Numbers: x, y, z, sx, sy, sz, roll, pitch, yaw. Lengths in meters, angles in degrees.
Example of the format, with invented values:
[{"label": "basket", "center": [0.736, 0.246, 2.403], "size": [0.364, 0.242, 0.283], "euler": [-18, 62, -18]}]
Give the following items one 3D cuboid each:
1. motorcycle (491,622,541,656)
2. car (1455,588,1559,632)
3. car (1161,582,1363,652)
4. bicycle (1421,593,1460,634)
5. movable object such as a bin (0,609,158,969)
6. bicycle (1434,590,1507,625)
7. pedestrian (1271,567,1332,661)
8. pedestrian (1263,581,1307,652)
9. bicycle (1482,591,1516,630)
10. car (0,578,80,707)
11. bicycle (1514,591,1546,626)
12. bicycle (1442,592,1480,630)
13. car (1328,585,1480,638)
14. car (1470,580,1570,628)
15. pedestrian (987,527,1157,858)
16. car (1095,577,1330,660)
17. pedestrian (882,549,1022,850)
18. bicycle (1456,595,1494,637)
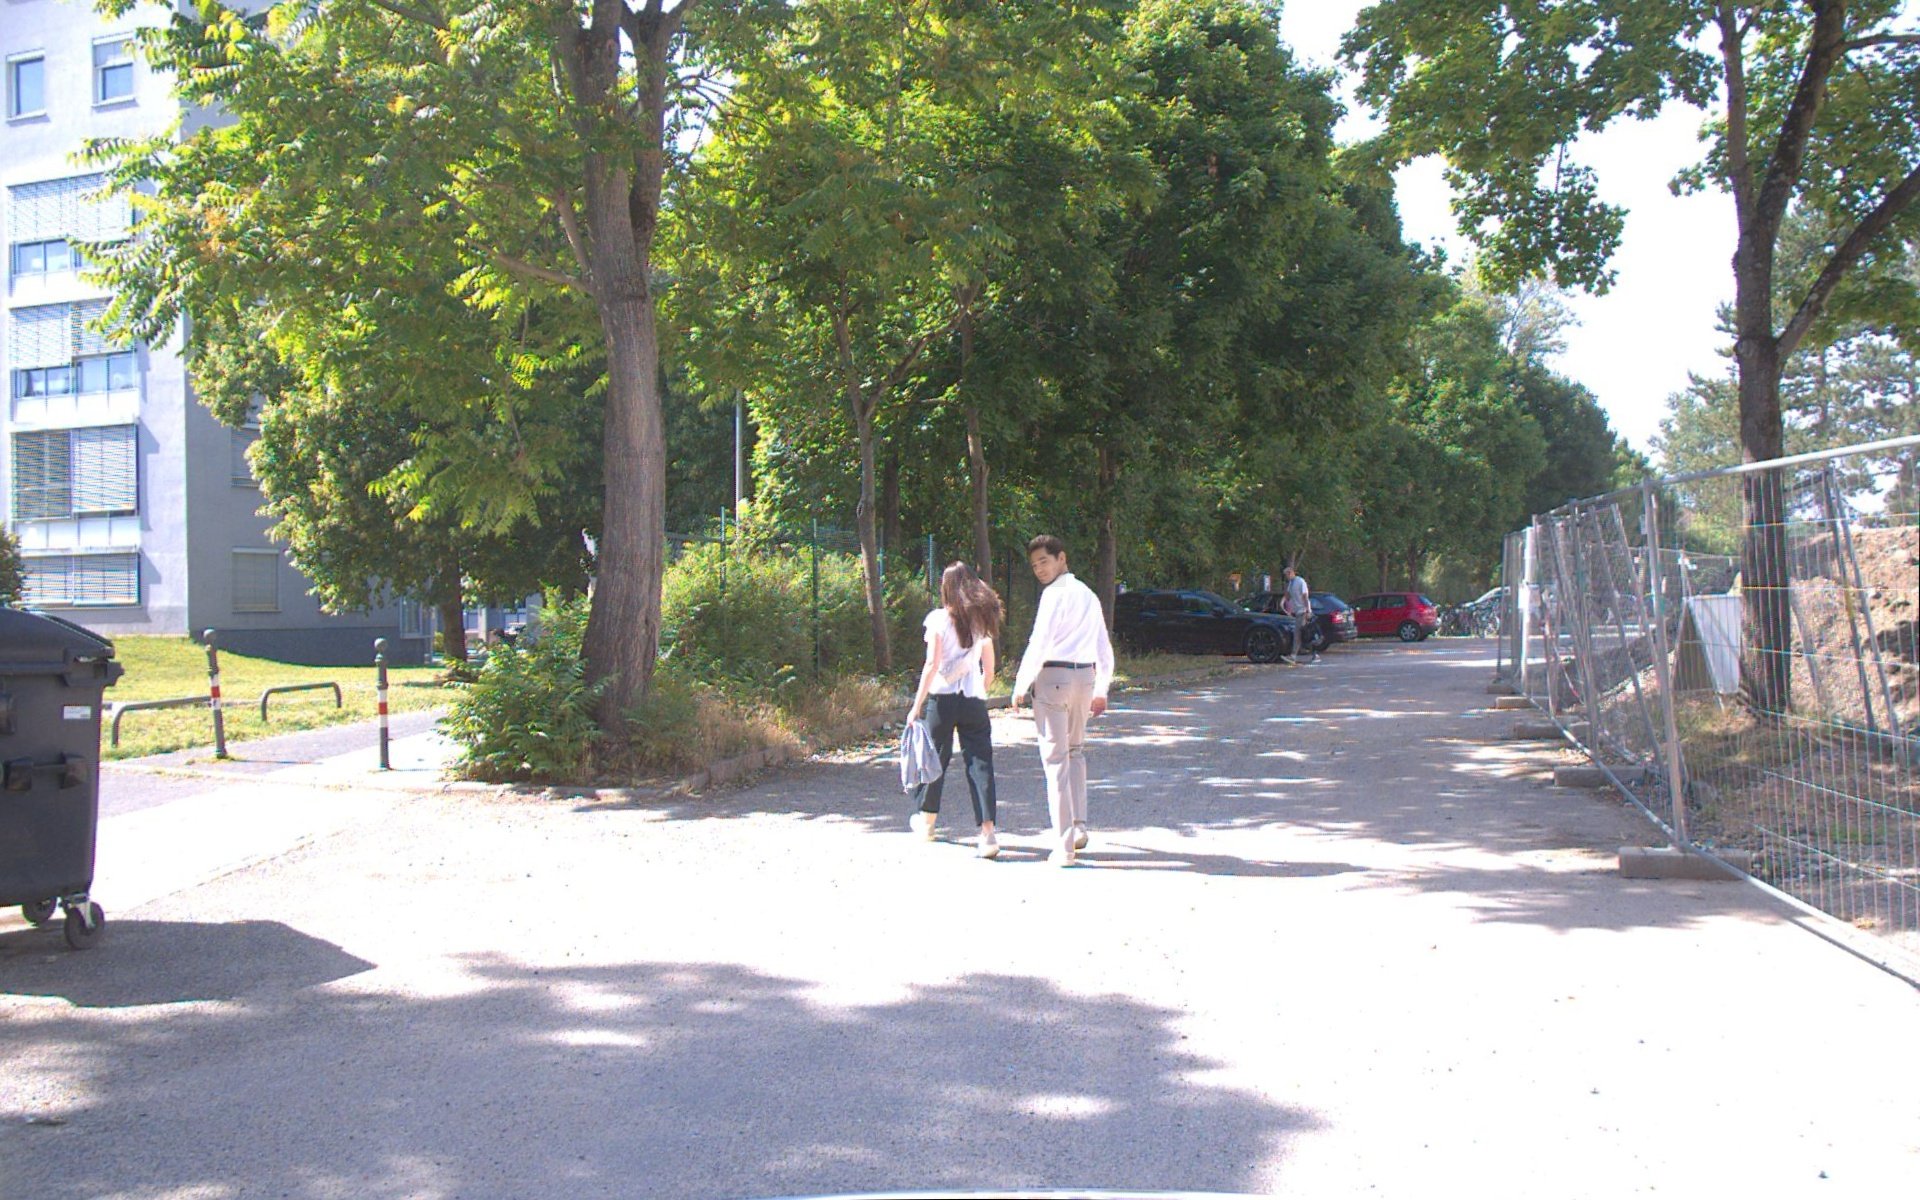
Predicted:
[{"label": "motorcycle", "center": [-17.266, 1.501, 64.385], "size": [0.616, 1.268, 2.059], "euler": [-1, 0, 29]}, {"label": "car", "center": [23.282, 0.421, 70.447], "size": [3.913, 1.803, 1.764], "euler": [-1, 1, 30]}, {"label": "car", "center": [7.334, 0.396, 40.048], "size": [4.558, 1.612, 2.001], "euler": [0, 1, 19]}, {"label": "bicycle", "center": [15.742, 0.432, 54.173], "size": [0.700, 1.306, 2.788], "euler": [-1, 0, 27]}, {"label": "movable object such as a bin", "center": [-4.328, 0.767, 7.075], "size": [1.239, 1.421, 1.381], "euler": [-1, 0, -44]}, {"label": "bicycle", "center": [19.753, 0.294, 64.007], "size": [2.620, 1.307, 0.819], "euler": [-1, 0, 22]}, {"label": "pedestrian", "center": [6.751, 0.271, 32.764], "size": [0.993, 1.812, 0.819], "euler": [-1, 0, -4]}, {"label": "pedestrian", "center": [7.554, 0.380, 38.424], "size": [0.905, 1.623, 0.786], "euler": [-1, 1, 19]}, {"label": "bicycle", "center": [18.485, 0.346, 56.732], "size": [0.700, 1.306, 2.634], "euler": [-1, 0, 27]}, {"label": "car", "center": [-15.992, 0.663, 24.442], "size": [1.956, 1.967, 5.032], "euler": [-1, 0, 29]}, {"label": "bicycle", "center": [22.057, 0.324, 63.977], "size": [0.800, 1.306, 2.743], "euler": [-1, 0, 27]}, {"label": "bicycle", "center": [17.788, 0.387, 58.688], "size": [0.800, 1.306, 2.681], "euler": [-1, 0, 27]}, {"label": "car", "center": [13.502, 0.352, 50.302], "size": [4.201, 1.551, 1.891], "euler": [-1, 0, 26]}, {"label": "car", "center": [24.733, 0.167, 73.068], "size": [3.913, 2.049, 1.764], "euler": [-1, 0, 30]}, {"label": "pedestrian", "center": [0.614, 0.485, 9.310], "size": [0.741, 1.758, 0.852], "euler": [-1, 1, -11]}, {"label": "car", "center": [5.279, 0.369, 34.496], "size": [4.558, 1.612, 2.001], "euler": [0, 1, 19]}, {"label": "pedestrian", "center": [-0.061, 0.545, 9.645], "size": [0.721, 1.668, 0.780], "euler": [-1, 1, -7]}, {"label": "bicycle", "center": [16.440, 0.502, 52.757], "size": [0.700, 1.306, 2.681], "euler": [-1, 0, 27]}]
